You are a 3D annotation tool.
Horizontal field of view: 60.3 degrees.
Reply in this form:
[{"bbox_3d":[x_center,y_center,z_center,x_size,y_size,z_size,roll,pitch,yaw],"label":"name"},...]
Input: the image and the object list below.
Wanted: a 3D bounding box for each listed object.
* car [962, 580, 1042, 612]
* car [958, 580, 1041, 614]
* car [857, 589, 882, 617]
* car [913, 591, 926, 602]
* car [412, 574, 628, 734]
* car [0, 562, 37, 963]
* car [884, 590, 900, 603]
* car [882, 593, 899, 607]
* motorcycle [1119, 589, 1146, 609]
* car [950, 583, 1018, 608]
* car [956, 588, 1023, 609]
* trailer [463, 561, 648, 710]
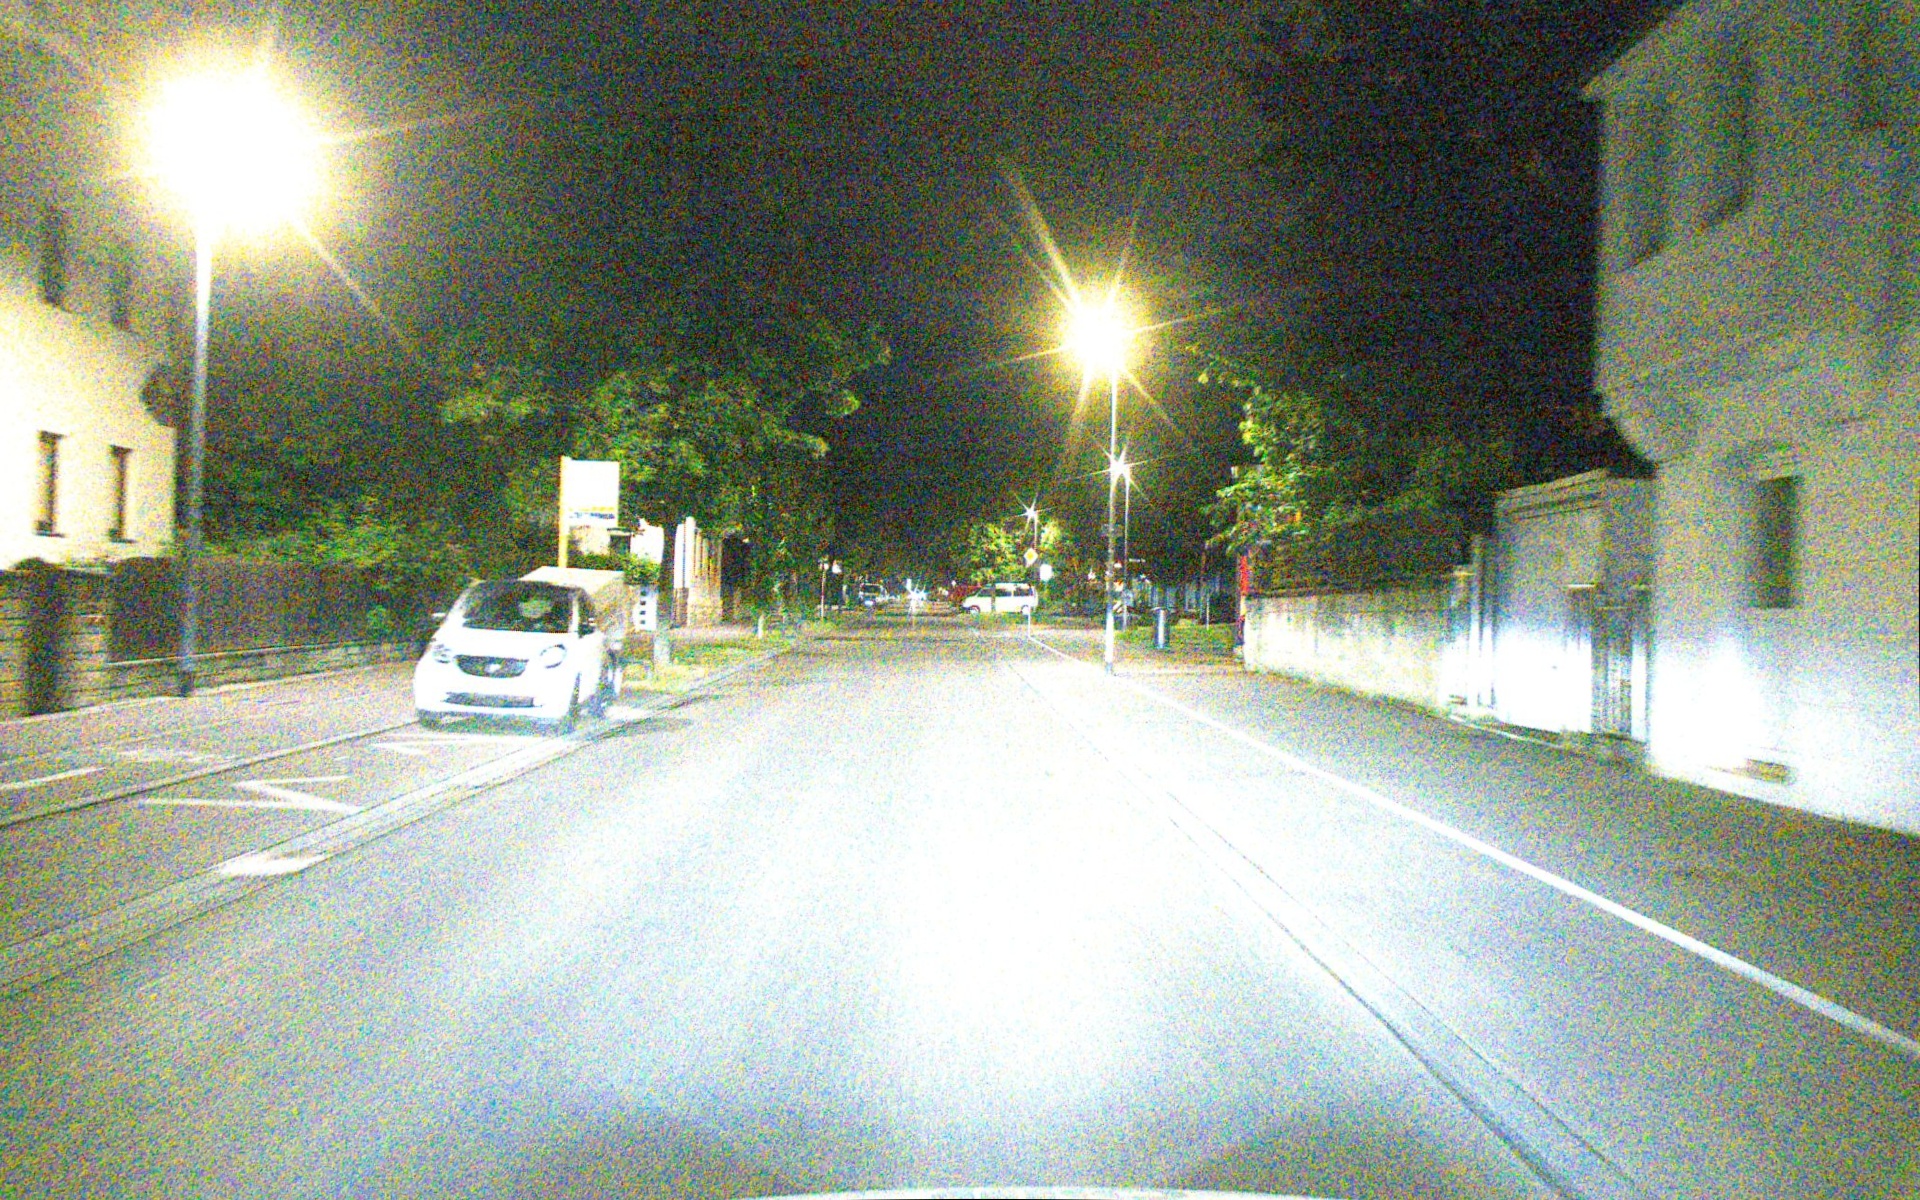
[{"bbox_3d":[2.695,-0.266,107.886,5.078,2.049,2.101,-1,0,-3],"label":"car"},{"bbox_3d":[2.490,-0.213,104.817,5.078,2.049,2.101,-1,0,-3],"label":"car"},{"bbox_3d":[-7.005,0.234,128.313,1.788,2.021,4.463,2,0,-2],"label":"car"},{"bbox_3d":[-5.967,-0.510,242.047,1.888,1.677,3.819,0,0,-2],"label":"car"},{"bbox_3d":[-4.790,0.543,18.384,1.638,1.548,2.977,3,0,-2],"label":"car"},{"bbox_3d":[-4.507,0.610,4.390,1.730,1.546,4.278,2,0,-1],"label":"car"},{"bbox_3d":[-7.253,-0.362,177.212,1.649,1.354,3.598,1,0,-2],"label":"car"},{"bbox_3d":[-6.743,0.008,160.420,1.649,1.354,3.598,1,0,-2],"label":"car"},{"bbox_3d":[11.575,-0.073,110.996,1.048,1.350,2.706,1,1,22],"label":"motorcycle"},{"bbox_3d":[1.905,-0.367,129.575,5.072,1.920,2.103,-1,0,8],"label":"car"},{"bbox_3d":[2.247,-0.125,126.865,5.078,1.495,2.101,-1,0,-3],"label":"car"},{"bbox_3d":[-5.185,0.422,21.598,1.418,1.717,3.426,3,0,1],"label":"trailer"}]
